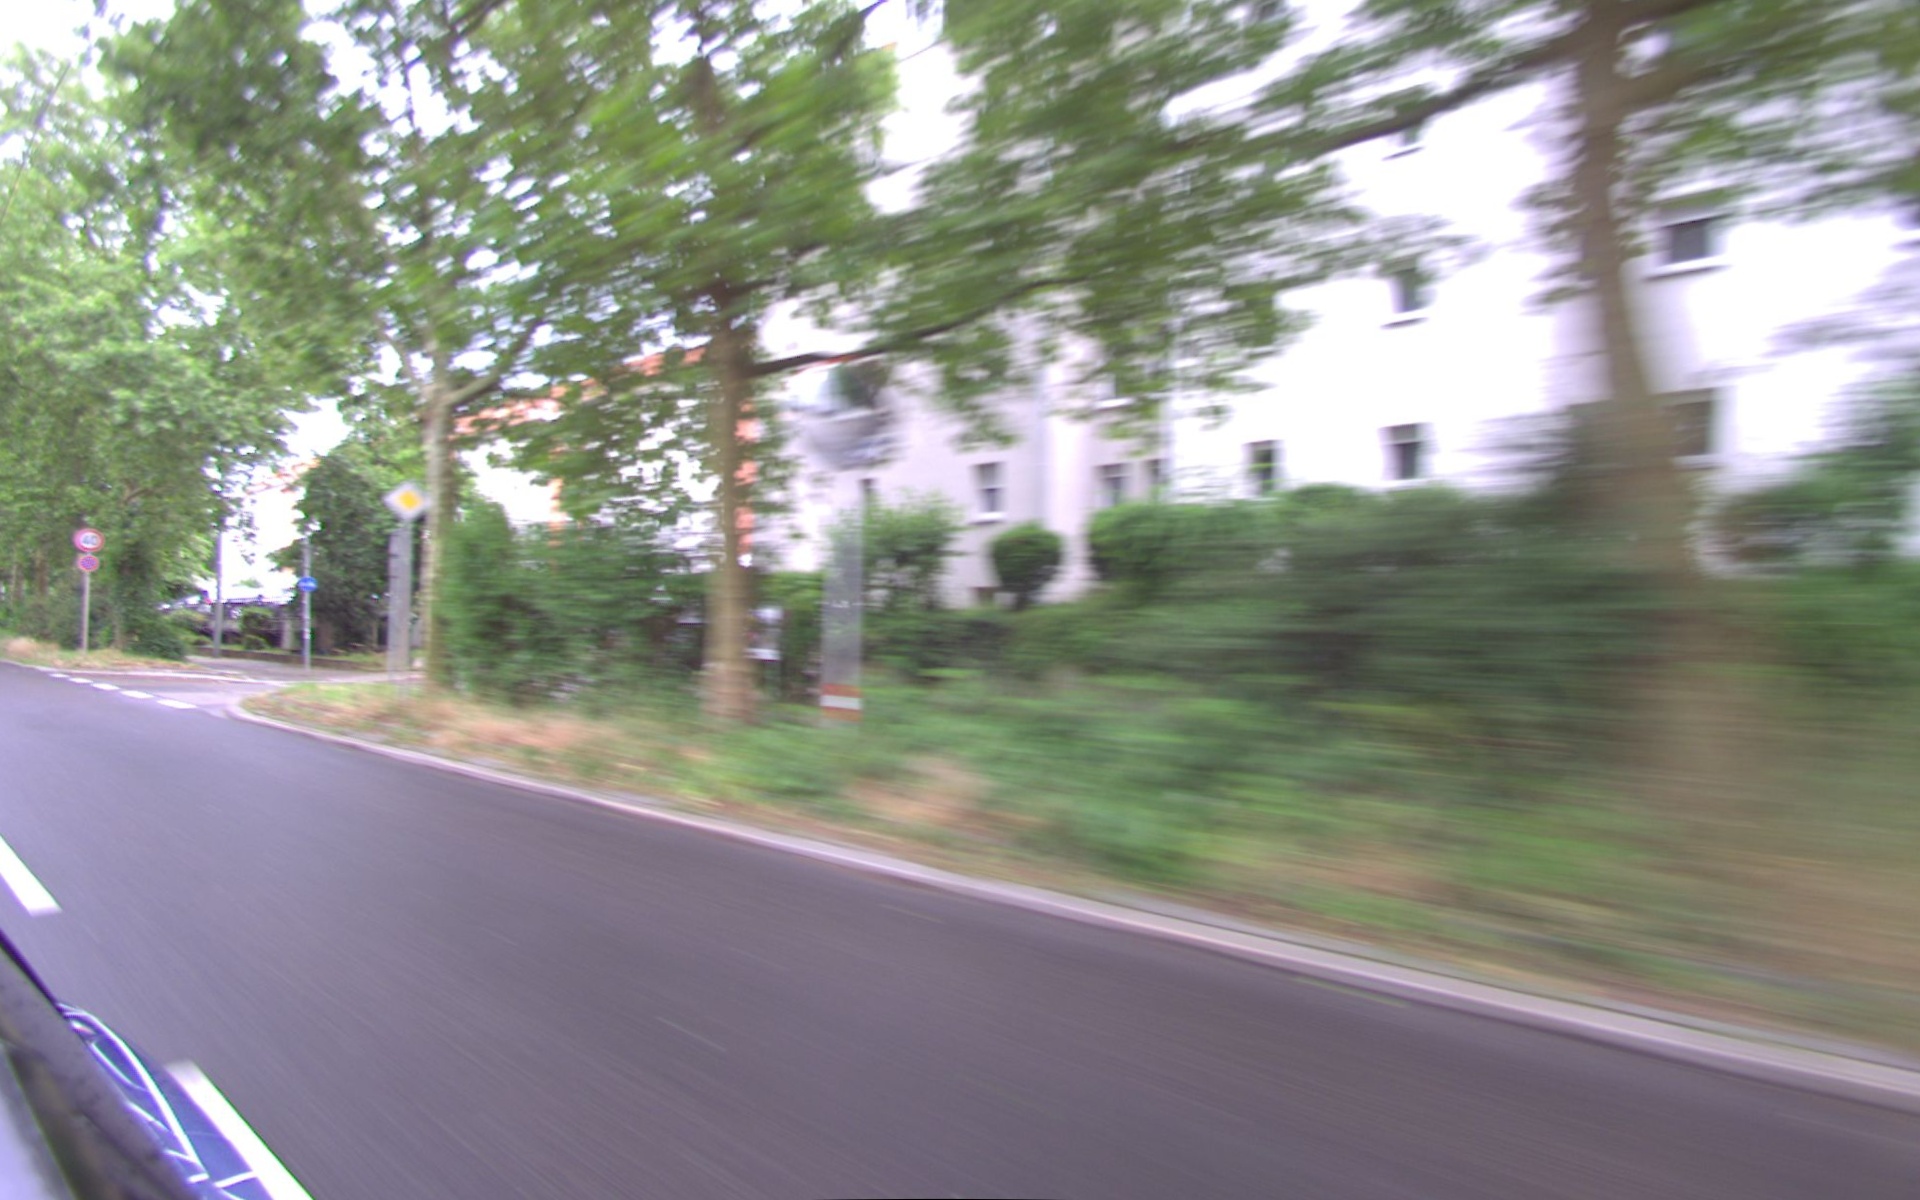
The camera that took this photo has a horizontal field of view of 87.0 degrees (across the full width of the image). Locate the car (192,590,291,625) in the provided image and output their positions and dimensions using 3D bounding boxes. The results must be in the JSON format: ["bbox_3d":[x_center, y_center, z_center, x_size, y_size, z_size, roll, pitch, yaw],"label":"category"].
[{"bbox_3d":[-36.400,0.351,51.331,1.736,1.701,3.756,0,0,38],"label":"car"}]

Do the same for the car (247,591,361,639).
[{"bbox_3d":[-29.258,0.705,45.214,3.940,2.029,1.958,2,-3,-44],"label":"car"}]

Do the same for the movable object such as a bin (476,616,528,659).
[{"bbox_3d":[-16.118,1.310,35.622,1.300,1.397,1.150,-1,3,40],"label":"movable object such as a bin"}]

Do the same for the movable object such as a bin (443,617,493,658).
[{"bbox_3d":[-18.197,1.390,37.448,1.300,1.397,1.150,-1,3,40],"label":"movable object such as a bin"}]

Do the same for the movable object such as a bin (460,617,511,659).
[{"bbox_3d":[-17.137,1.348,36.546,1.300,1.397,1.150,-1,3,40],"label":"movable object such as a bin"}]

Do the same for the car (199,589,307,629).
[{"bbox_3d":[-34.524,0.472,49.489,1.958,1.808,3.945,-1,-3,41],"label":"car"}]

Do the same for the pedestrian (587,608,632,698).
[{"bbox_3d":[-6.550,0.984,18.921,0.590,1.643,0.534,-1,-3,39],"label":"pedestrian"}]

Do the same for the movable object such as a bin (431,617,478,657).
[{"bbox_3d":[-19.148,1.395,38.330,1.225,1.397,1.150,-1,3,40],"label":"movable object such as a bin"}]
